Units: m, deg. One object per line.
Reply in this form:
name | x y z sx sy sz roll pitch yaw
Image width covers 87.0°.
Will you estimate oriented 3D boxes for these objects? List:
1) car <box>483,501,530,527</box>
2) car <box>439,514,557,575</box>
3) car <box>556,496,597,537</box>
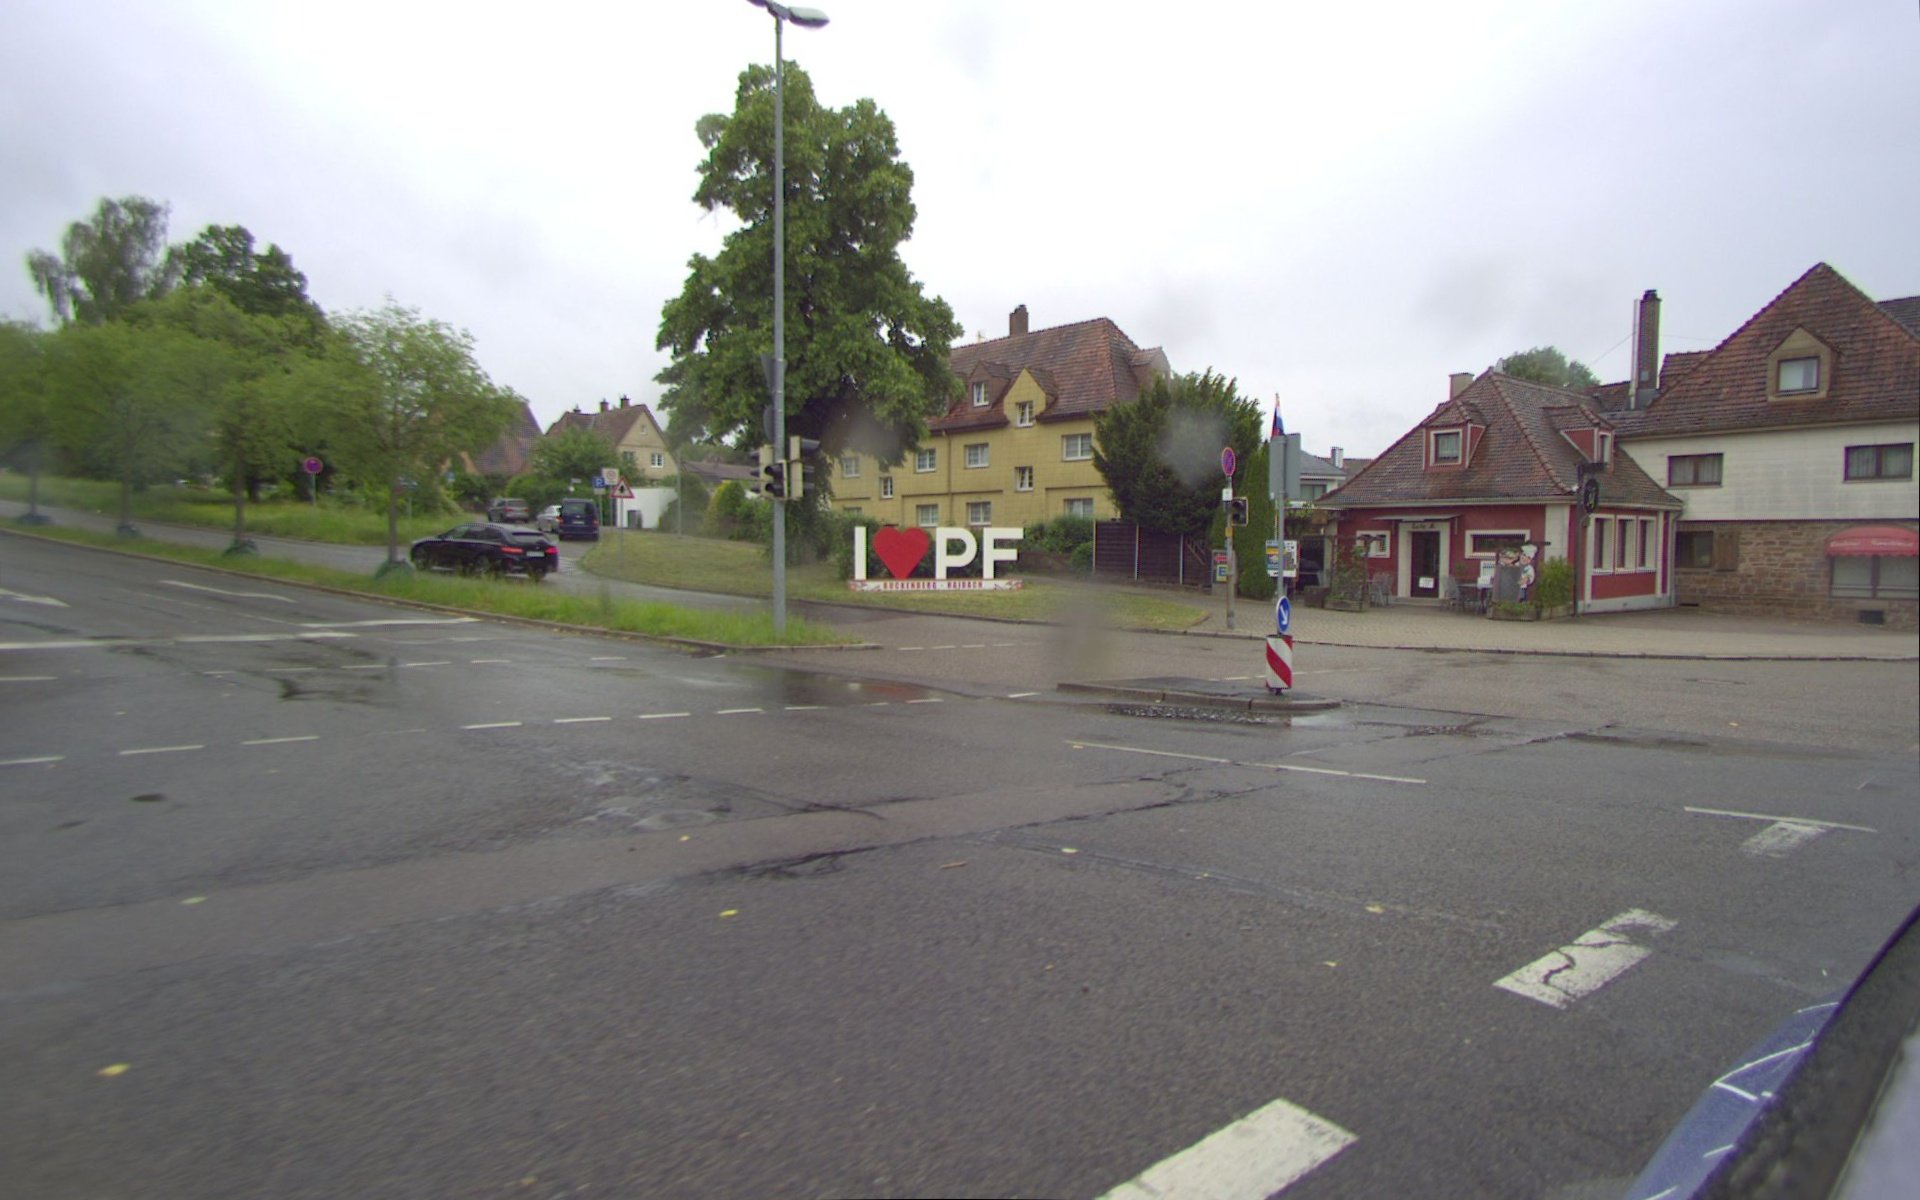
car | -30.391 -5.774 67.813 1.812 1.618 3.806 0 4 -42
car | -13.017 -1.574 28.462 3.512 1.553 1.509 4 3 37
car | -18.798 -4.058 49.635 1.804 1.864 3.821 1 3 -21
